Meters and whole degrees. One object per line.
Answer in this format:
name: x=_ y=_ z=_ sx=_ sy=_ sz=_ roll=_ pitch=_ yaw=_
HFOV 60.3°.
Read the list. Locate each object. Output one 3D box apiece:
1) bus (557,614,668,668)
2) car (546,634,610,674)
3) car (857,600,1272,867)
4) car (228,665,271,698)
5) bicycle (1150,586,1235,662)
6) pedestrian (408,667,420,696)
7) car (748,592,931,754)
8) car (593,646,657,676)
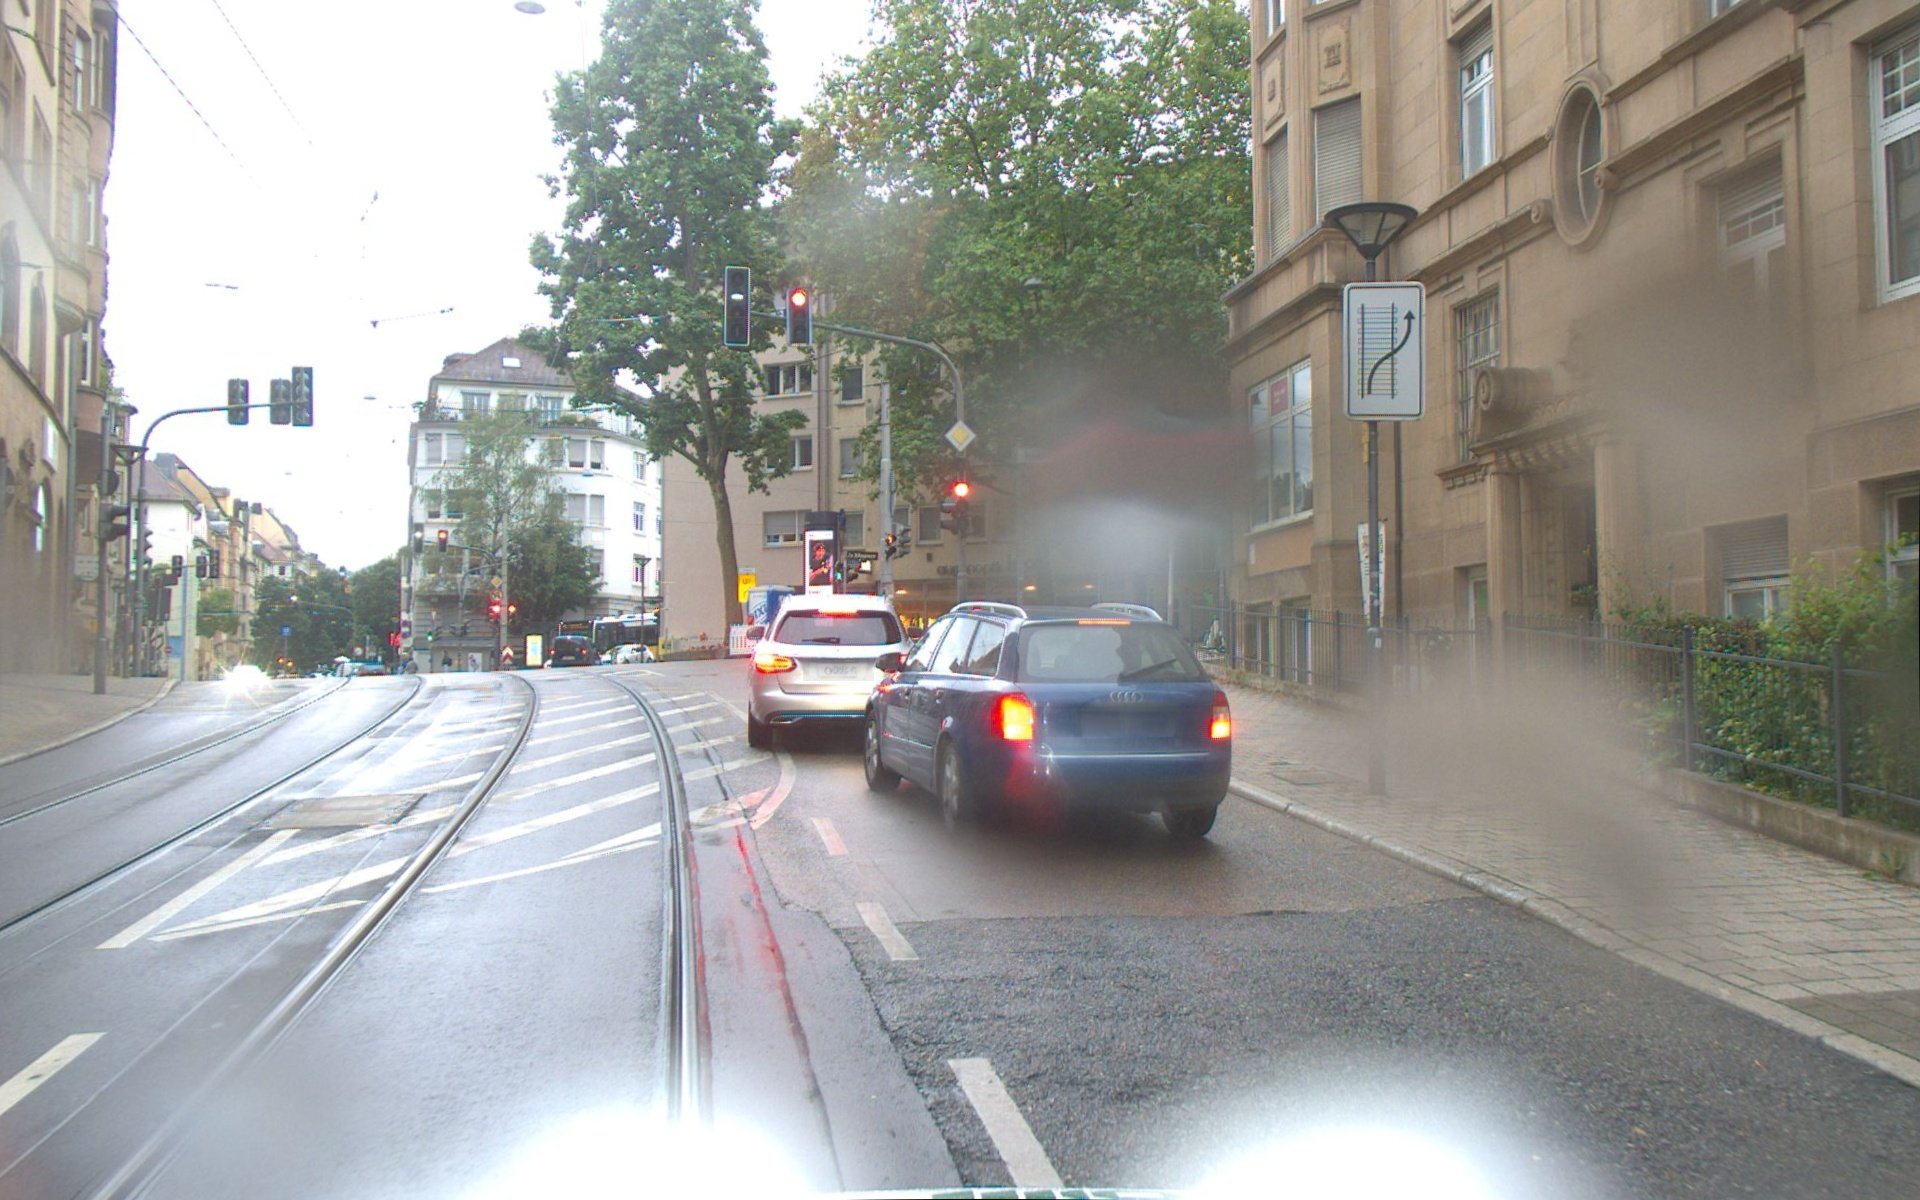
bus: x=-20.738 y=2.404 z=99.379 sx=2.794 sy=2.911 sz=8.739 roll=-1 pitch=0 yaw=16
car: x=-16.684 y=2.345 z=72.474 sx=1.757 sy=1.536 sz=4.000 roll=-3 pitch=0 yaw=1
car: x=0.497 y=0.749 z=11.337 sx=1.682 sy=1.440 sz=4.021 roll=1 pitch=0 yaw=-14
car: x=-38.378 y=4.391 z=89.256 sx=1.774 sy=1.537 sz=4.622 roll=-1 pitch=0 yaw=-28
bicycle: x=3.901 y=0.394 z=27.823 sx=1.277 sy=1.194 sz=0.525 roll=-3 pitch=0 yaw=-11
pedestrian: x=-32.028 y=4.764 z=97.033 sx=0.638 sy=1.690 sz=0.647 roll=1 pitch=0 yaw=-19
car: x=-1.282 y=0.669 z=17.066 sx=1.677 sy=1.481 sz=3.548 roll=1 pitch=0 yaw=-6
car: x=-18.822 y=3.416 z=93.100 sx=1.757 sy=1.536 sz=4.001 roll=-1 pitch=0 yaw=19
